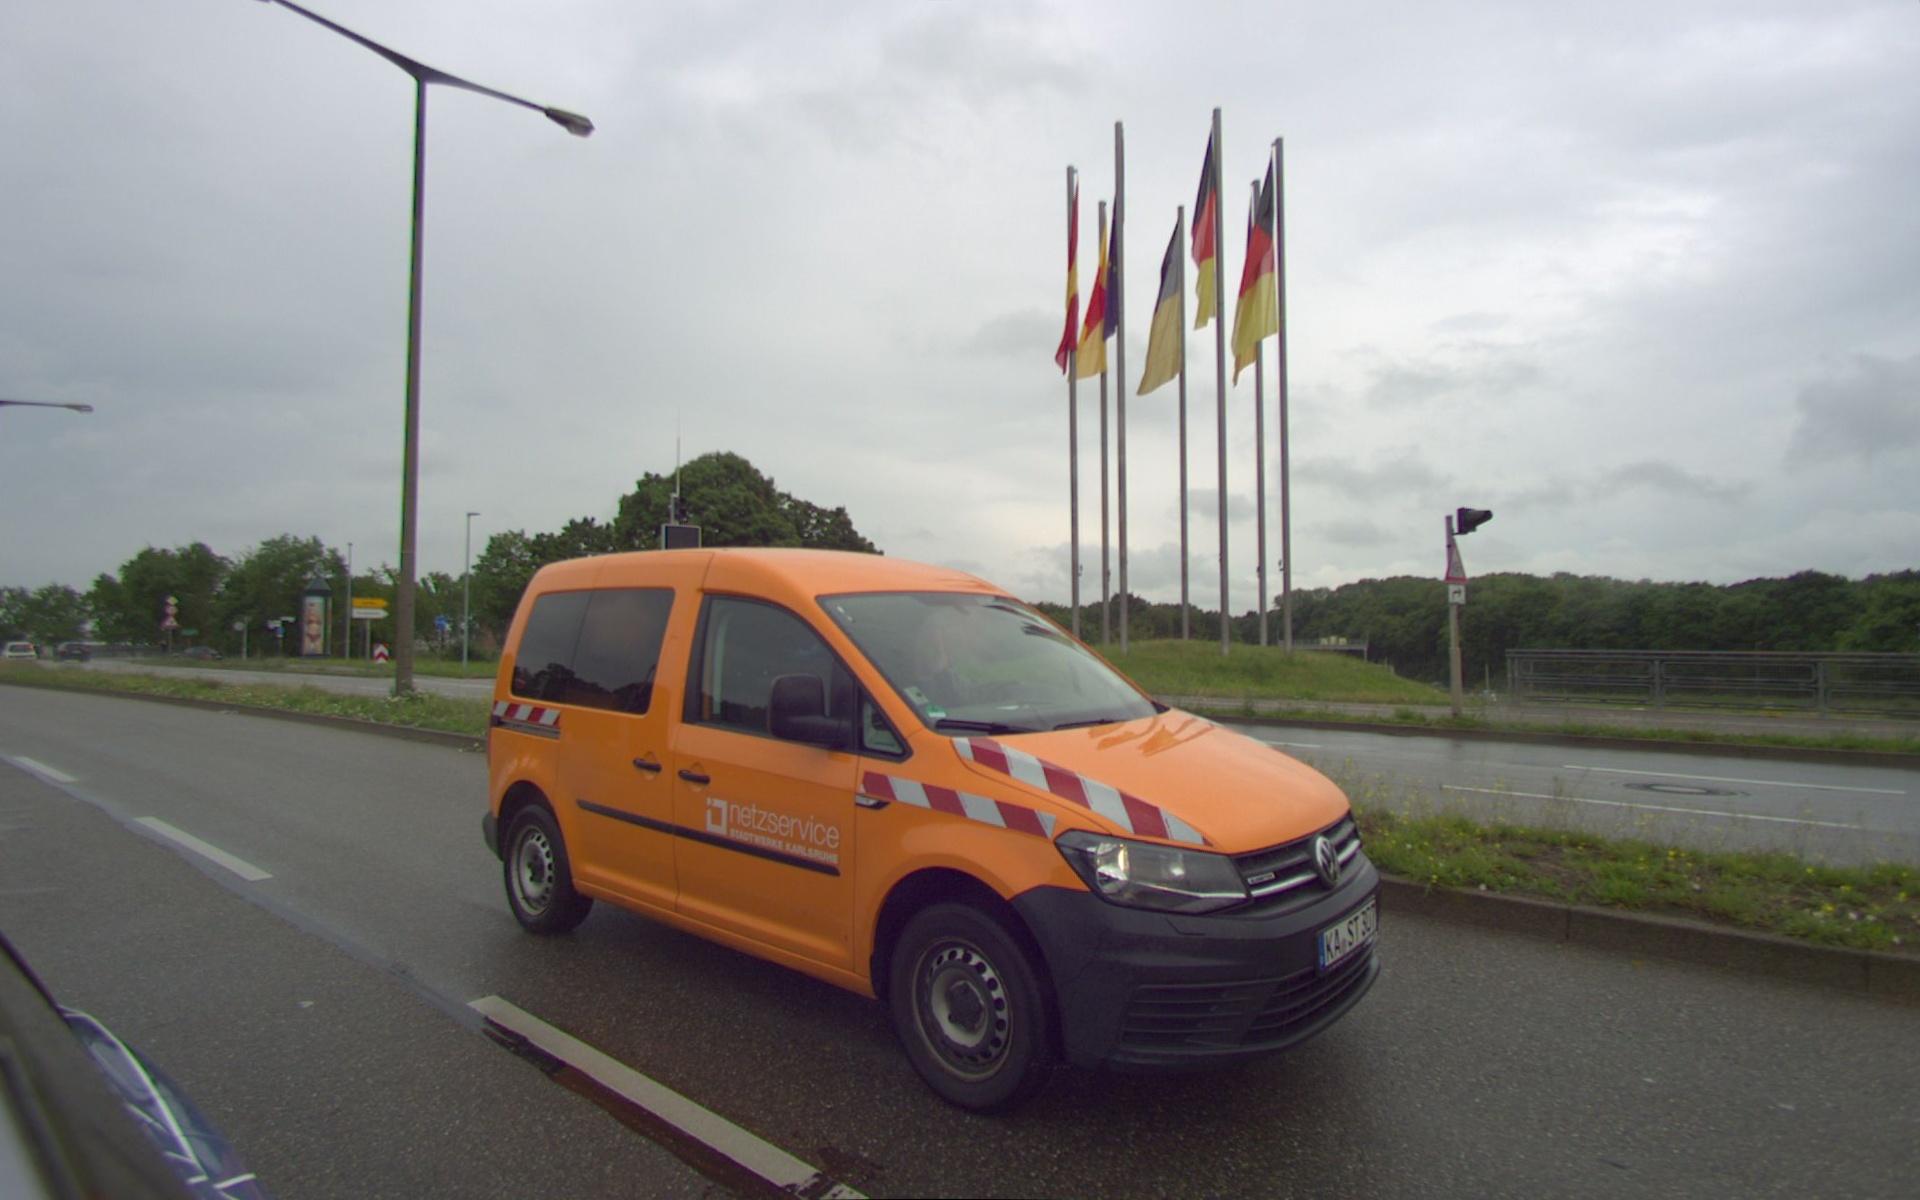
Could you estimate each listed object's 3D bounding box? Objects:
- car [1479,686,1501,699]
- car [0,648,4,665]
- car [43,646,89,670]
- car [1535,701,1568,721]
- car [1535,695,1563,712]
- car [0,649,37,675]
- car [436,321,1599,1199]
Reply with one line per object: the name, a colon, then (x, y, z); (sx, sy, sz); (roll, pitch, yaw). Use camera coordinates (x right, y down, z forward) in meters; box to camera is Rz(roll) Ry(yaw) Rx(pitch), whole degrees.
car: (79.279, 13.810, 151.347); (1.981, 1.744, 3.982); (-1, -1, 14)
car: (-92.468, 5.400, 96.228); (4.028, 1.533, 1.827); (-2, -2, 40)
car: (-67.596, 4.370, 76.524); (4.024, 1.764, 1.828); (-2, -2, 37)
car: (62.839, 11.800, 107.576); (1.981, 1.744, 3.982); (-1, -1, 14)
car: (73.922, 12.970, 127.064); (1.981, 1.744, 3.982); (-1, -1, 14)
car: (-65.383, 4.256, 69.804); (4.025, 1.634, 1.828); (-2, -2, 38)
car: (-0.329, 0.533, 4.247); (4.847, 2.034, 1.716); (-2, -2, 42)
